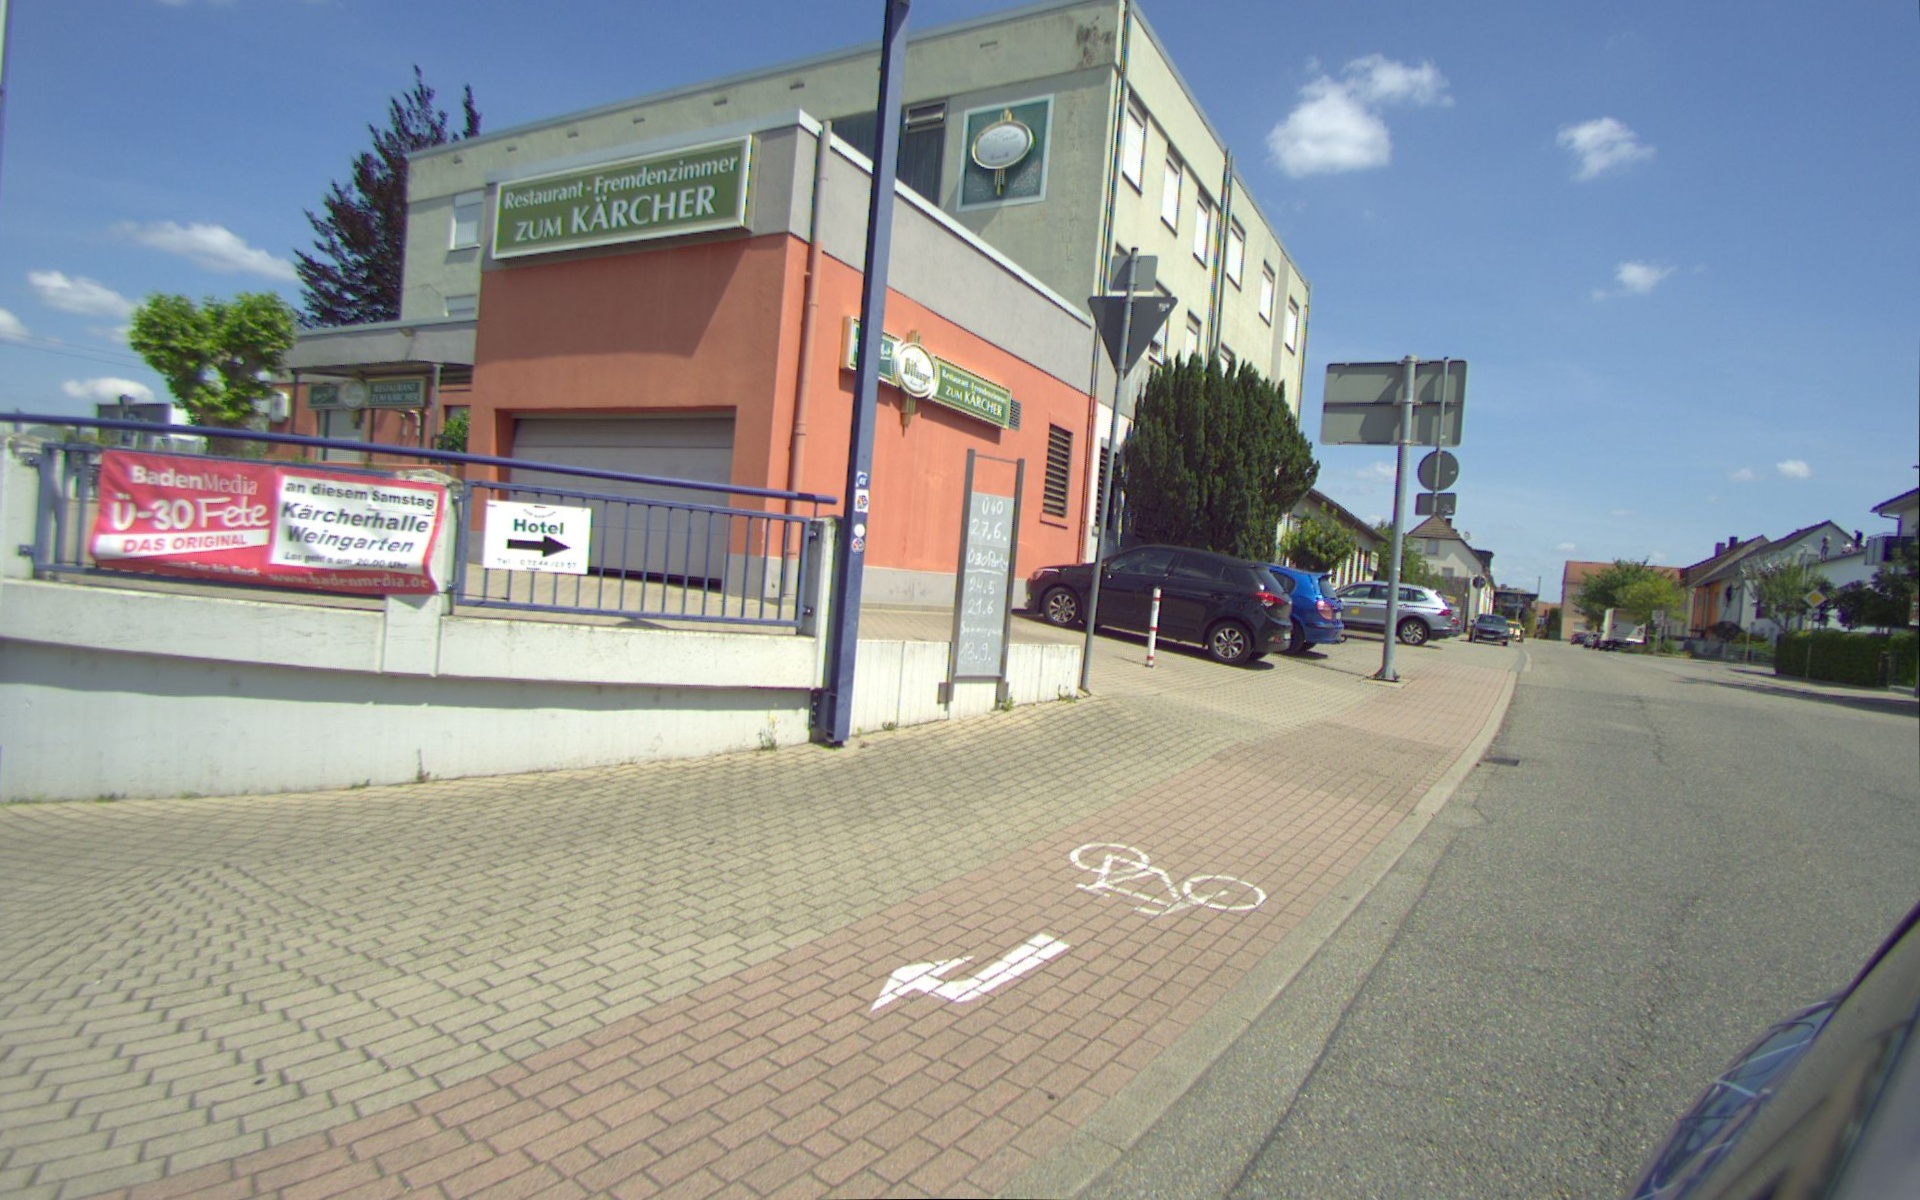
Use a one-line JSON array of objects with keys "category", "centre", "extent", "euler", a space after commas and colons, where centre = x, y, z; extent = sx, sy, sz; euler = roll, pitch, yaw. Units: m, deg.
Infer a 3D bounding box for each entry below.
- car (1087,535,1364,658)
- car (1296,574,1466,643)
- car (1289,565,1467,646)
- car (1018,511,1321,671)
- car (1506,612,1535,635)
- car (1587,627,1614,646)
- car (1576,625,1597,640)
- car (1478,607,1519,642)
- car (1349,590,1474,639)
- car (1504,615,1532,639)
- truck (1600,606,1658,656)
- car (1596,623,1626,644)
[{"category": "car", "centre": [4.630, -0.141, 17.821], "extent": [4.304, 1.455, 1.761], "euler": [10, 6, 29]}, {"category": "car", "centre": [12.860, 0.239, 30.957], "extent": [4.481, 1.538, 1.979], "euler": [8, 2, 30]}, {"category": "car", "centre": [11.918, 0.120, 28.904], "extent": [4.431, 1.717, 1.903], "euler": [8, 2, 28]}, {"category": "car", "centre": [3.075, -0.202, 14.987], "extent": [3.880, 1.506, 1.792], "euler": [13, 6, 28]}, {"category": "car", "centre": [41.920, 1.793, 75.666], "extent": [1.709, 1.414, 4.170], "euler": [10, 3, 29]}, {"category": "car", "centre": [59.434, 3.388, 93.983], "extent": [1.708, 1.518, 4.172], "euler": [8, 2, 28]}, {"category": "car", "centre": [74.487, 3.864, 120.286], "extent": [1.708, 1.518, 4.172], "euler": [8, 2, 28]}, {"category": "car", "centre": [26.804, 1.199, 50.412], "extent": [1.619, 1.507, 4.098], "euler": [6, 1, 28]}, {"category": "car", "centre": [18.956, 0.594, 42.556], "extent": [4.508, 1.471, 1.897], "euler": [8, 2, 31]}, {"category": "car", "centre": [44.045, 2.135, 79.823], "extent": [1.709, 1.517, 4.170], "euler": [10, 3, 29]}, {"category": "truck", "centre": [50.374, 2.284, 76.341], "extent": [2.425, 3.284, 6.968], "euler": [9, 3, 27]}, {"category": "car", "centre": [56.845, 2.918, 88.422], "extent": [1.708, 1.518, 4.172], "euler": [8, 2, 28]}]
